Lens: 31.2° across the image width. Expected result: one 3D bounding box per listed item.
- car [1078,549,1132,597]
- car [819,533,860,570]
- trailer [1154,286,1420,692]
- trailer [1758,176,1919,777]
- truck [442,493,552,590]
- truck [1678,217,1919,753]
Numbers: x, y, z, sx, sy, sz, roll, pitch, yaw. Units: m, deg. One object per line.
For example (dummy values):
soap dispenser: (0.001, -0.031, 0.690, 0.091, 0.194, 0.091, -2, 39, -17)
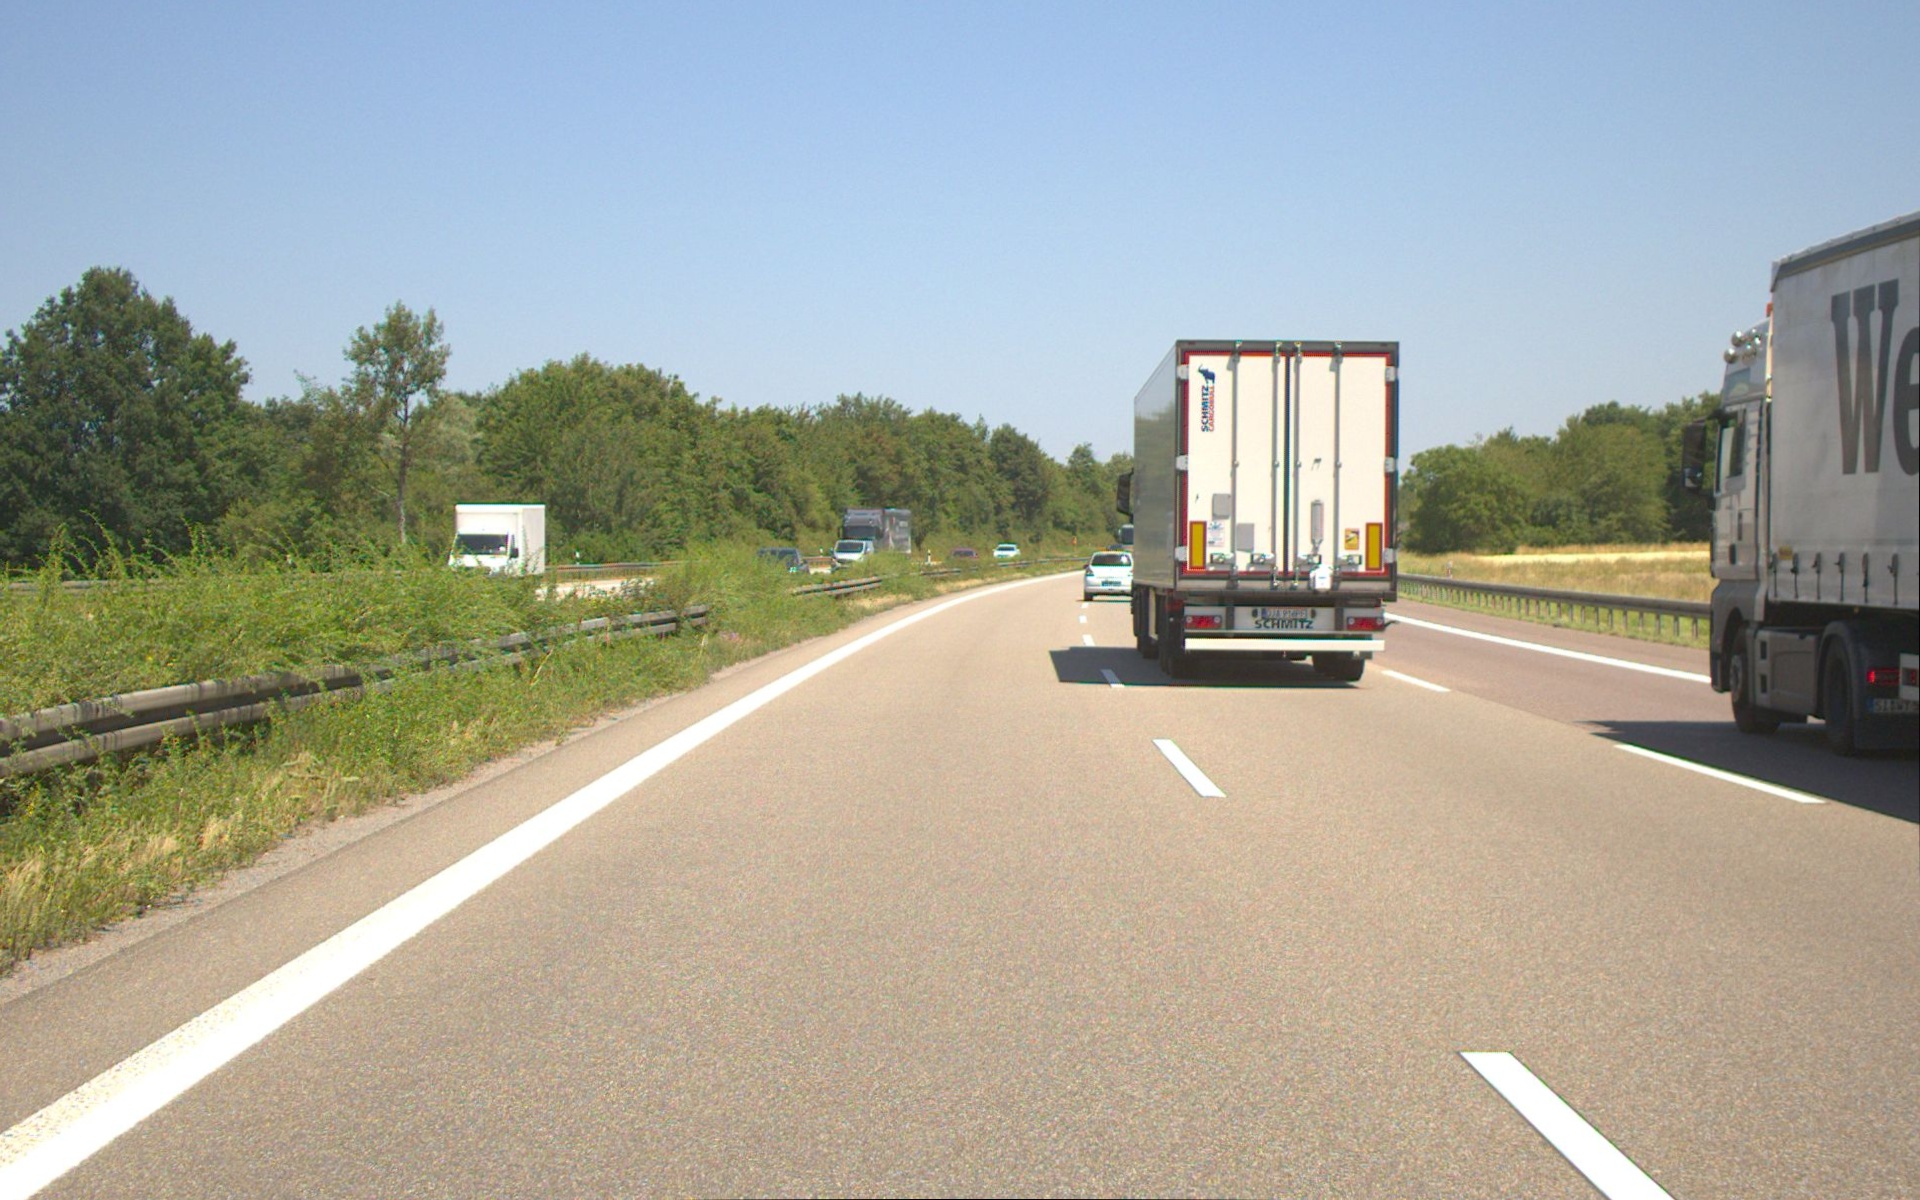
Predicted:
car: (4.480, -0.836, 105.951, 1.627, 1.474, 4.000, 0, 1, 3)
car: (-6.786, -2.728, 194.250, 2.058, 2.064, 5.409, -1, 1, 1)
trailer: (4.148, -1.395, 46.458, 2.901, 4.641, 13.985, 1, 1, 3)
trailer: (8.062, -0.854, 22.123, 2.595, 4.237, 13.641, 1, 0, 0)
truck: (-15.155, -1.918, 112.989, 2.452, 3.088, 6.990, 0, 1, 2)
truck: (8.057, -0.941, 29.764, 2.600, 4.241, 5.089, 1, 1, 0)
